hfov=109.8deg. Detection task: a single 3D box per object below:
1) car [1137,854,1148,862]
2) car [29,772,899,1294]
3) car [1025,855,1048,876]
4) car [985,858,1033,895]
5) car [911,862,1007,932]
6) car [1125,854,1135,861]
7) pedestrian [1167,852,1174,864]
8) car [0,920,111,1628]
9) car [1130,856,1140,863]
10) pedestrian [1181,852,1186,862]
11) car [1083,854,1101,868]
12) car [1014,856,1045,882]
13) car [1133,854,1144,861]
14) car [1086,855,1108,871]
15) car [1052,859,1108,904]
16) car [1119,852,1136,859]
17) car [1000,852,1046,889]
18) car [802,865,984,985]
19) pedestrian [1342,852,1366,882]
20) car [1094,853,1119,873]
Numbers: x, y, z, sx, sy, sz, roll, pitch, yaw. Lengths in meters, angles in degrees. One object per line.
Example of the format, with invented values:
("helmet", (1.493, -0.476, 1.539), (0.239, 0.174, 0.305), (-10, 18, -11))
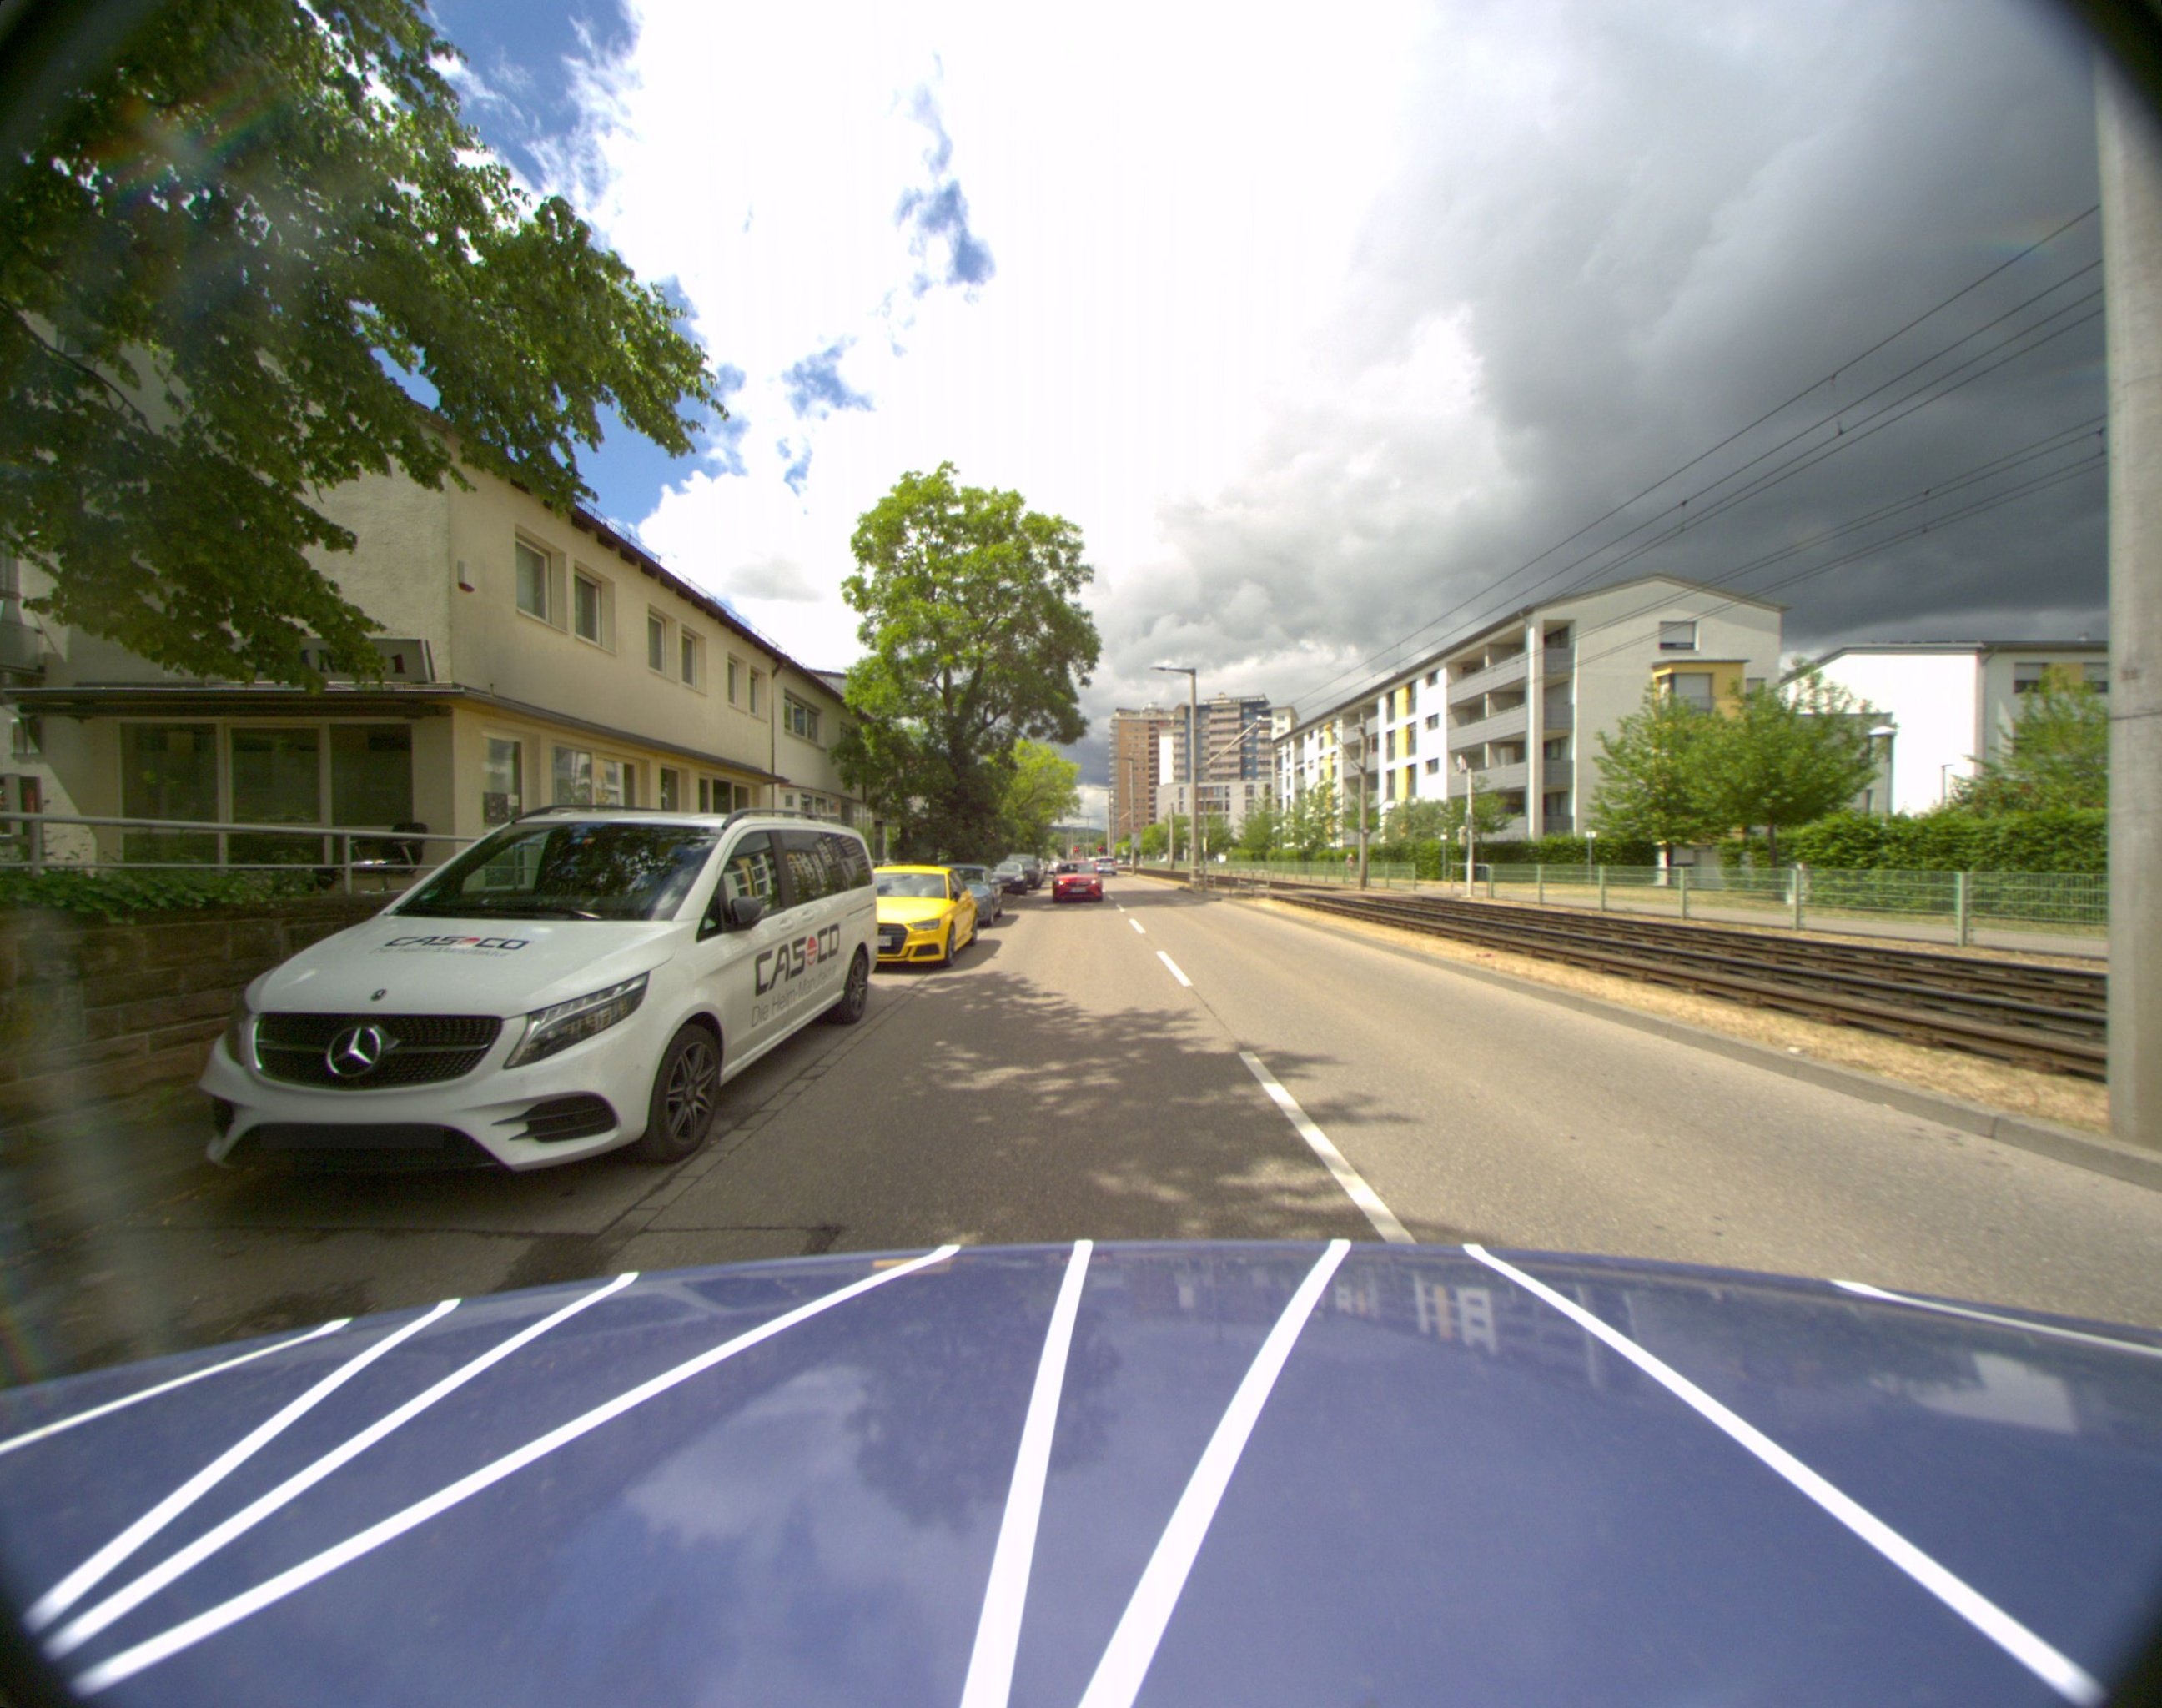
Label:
("car", (12.744, 0.780, 158.546), (1.894, 1.530, 3.803), (-1, 0, -1))
("car", (-2.981, 0.666, 5.716), (1.919, 1.947, 5.744), (0, 0, -1))
("car", (-3.722, 0.943, 64.375), (1.842, 1.634, 4.428), (-1, 0, -2))
("car", (-3.120, 0.958, 33.541), (1.839, 1.497, 4.241), (0, 0, -2))
("car", (-2.821, 0.935, 18.494), (1.760, 1.434, 4.492), (0, 0, -2))
("car", (11.475, 0.747, 177.708), (1.781, 1.530, 3.802), (-1, 0, -3))
("pedestrian", (12.147, 0.575, 103.020), (0.756, 1.603, 0.937), (-1, 0, -2))
("car", (-3.099, 0.918, 0.405), (1.517, 1.525, 2.846), (1, 0, 0))
("car", (12.074, 1.159, 171.089), (1.781, 1.530, 3.802), (-1, 0, -3))
("pedestrian", (17.319, 0.482, 127.888), (0.749, 1.644, 0.538), (-1, 1, -2))
("car", (1.260, 0.813, 90.595), (1.863, 1.680, 4.432), (-1, 0, -4))
("car", (-3.120, 0.893, 46.388), (1.776, 1.434, 3.898), (2, 0, -3))
("car", (12.397, 0.705, 164.577), (1.781, 1.530, 3.802), (-1, 0, -3))
("car", (1.546, 0.853, 74.786), (1.822, 1.494, 4.835), (-2, 0, -3))
("car", (-0.076, 0.915, 27.079), (1.792, 1.387, 4.241), (-2, 0, -1))
("car", (12.360, 0.428, 202.176), (4.506, 1.914, 1.877), (-1, 0, -43))
("car", (-2.936, 0.796, 39.514), (2.020, 1.778, 5.075), (0, 0, 0))
("car", (-2.680, 0.937, 11.860), (1.759, 1.434, 4.340), (1, 0, 0))
("pedestrian", (13.733, 0.665, 38.213), (0.798, 1.474, 0.995), (-1, 0, -2))
("car", (2.141, 0.749, 65.251), (1.822, 1.604, 4.600), (-2, 0, -2))
